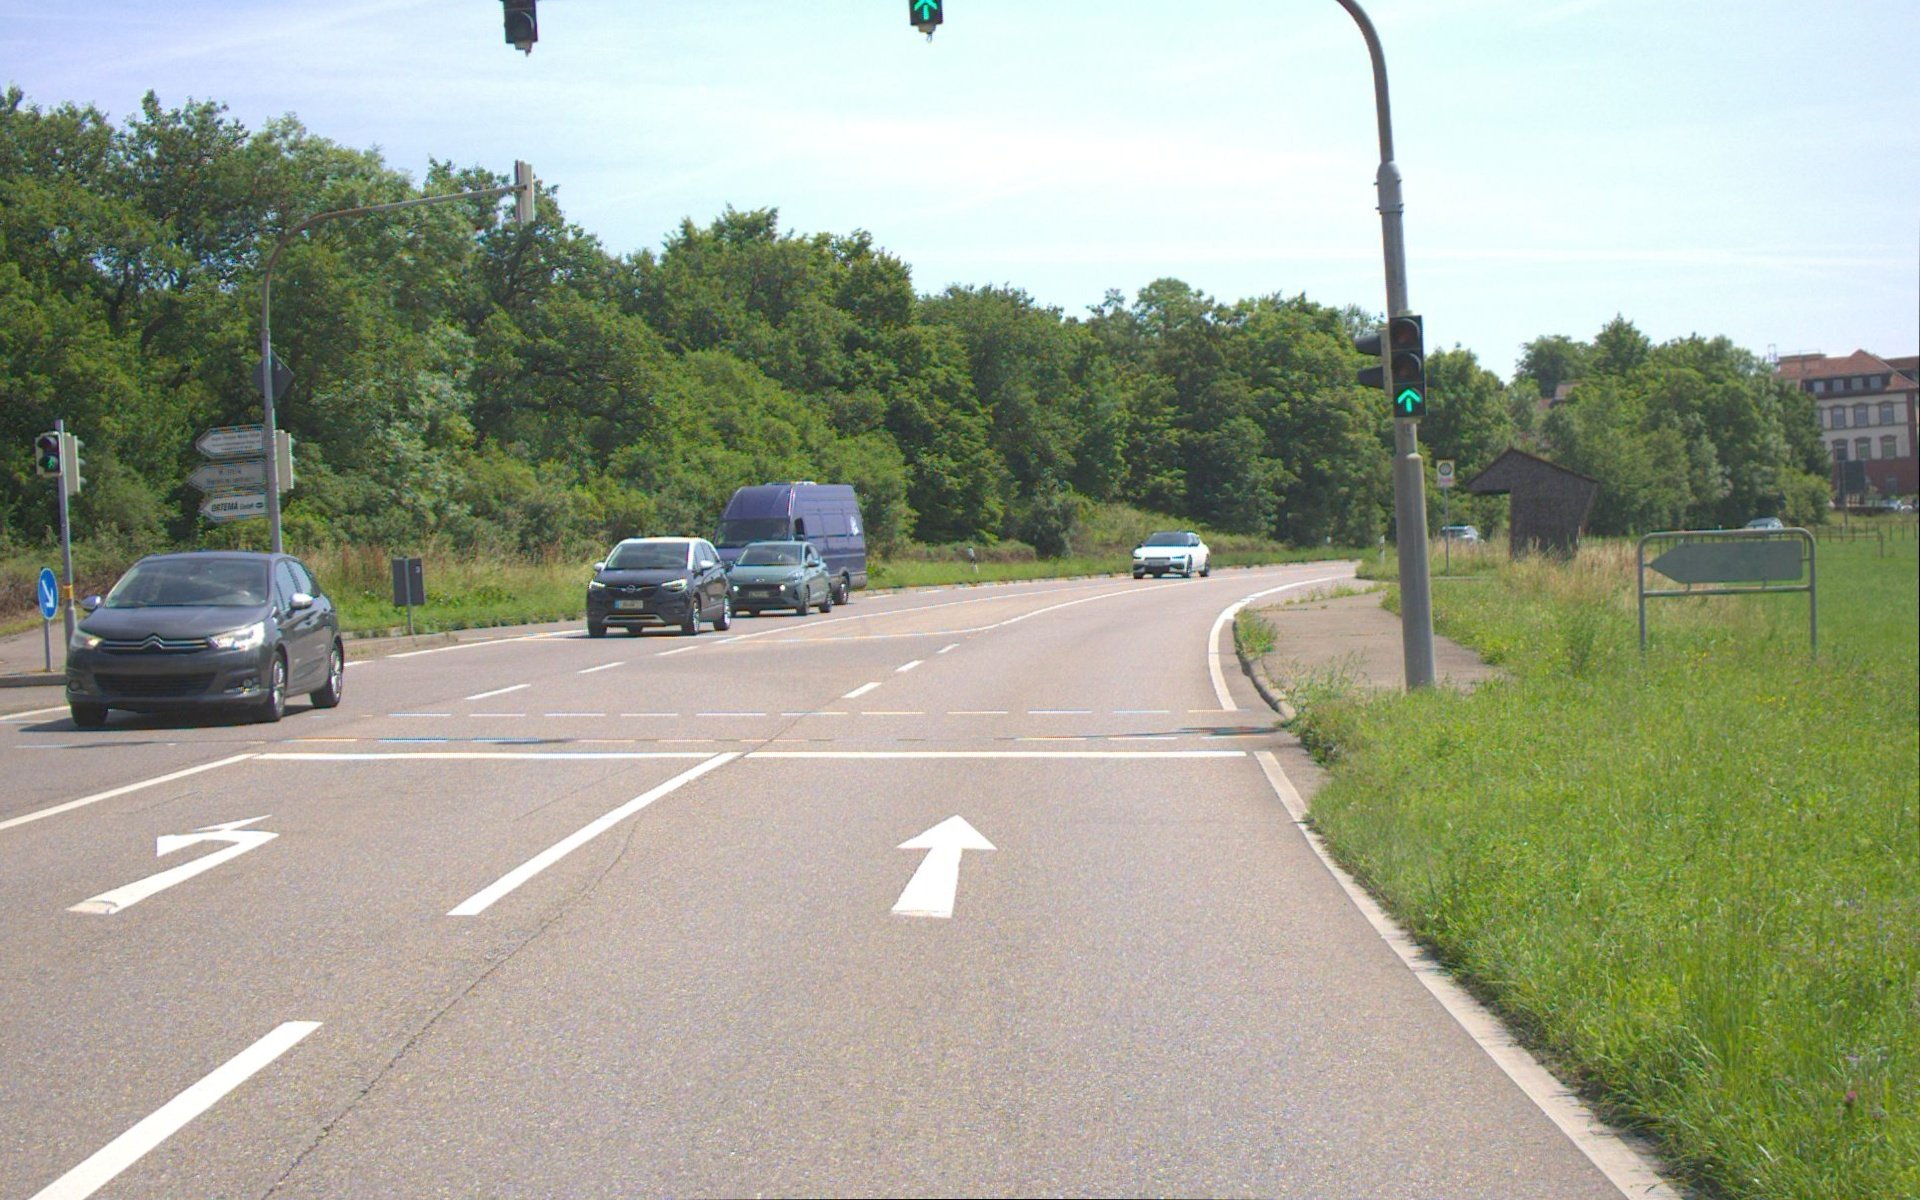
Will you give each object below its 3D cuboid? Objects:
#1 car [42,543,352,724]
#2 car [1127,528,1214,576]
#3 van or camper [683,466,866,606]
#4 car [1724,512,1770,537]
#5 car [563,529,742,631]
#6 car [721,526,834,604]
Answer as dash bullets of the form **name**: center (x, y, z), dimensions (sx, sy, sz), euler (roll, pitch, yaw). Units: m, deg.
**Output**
- **car**: center (-6.687, 0.245, 30.578), dimensions (1.791, 1.469, 4.311), euler (-1, 1, 0)
- **car**: center (7.075, -1.634, 115.270), dimensions (1.939, 1.543, 4.624), euler (-1, 1, 16)
- **van or camper**: center (-4.080, -1.504, 77.232), dimensions (2.241, 2.904, 7.244), euler (-1, 2, 12)
- **car**: center (50.725, -4.865, 221.538), dimensions (1.757, 1.529, 4.222), euler (0, 1, 29)
- **car**: center (-4.917, -0.352, 55.591), dimensions (1.975, 1.557, 4.188), euler (-1, 1, 8)
- **car**: center (-3.639, -0.715, 68.996), dimensions (1.707, 1.478, 3.832), euler (-1, 1, 5)
